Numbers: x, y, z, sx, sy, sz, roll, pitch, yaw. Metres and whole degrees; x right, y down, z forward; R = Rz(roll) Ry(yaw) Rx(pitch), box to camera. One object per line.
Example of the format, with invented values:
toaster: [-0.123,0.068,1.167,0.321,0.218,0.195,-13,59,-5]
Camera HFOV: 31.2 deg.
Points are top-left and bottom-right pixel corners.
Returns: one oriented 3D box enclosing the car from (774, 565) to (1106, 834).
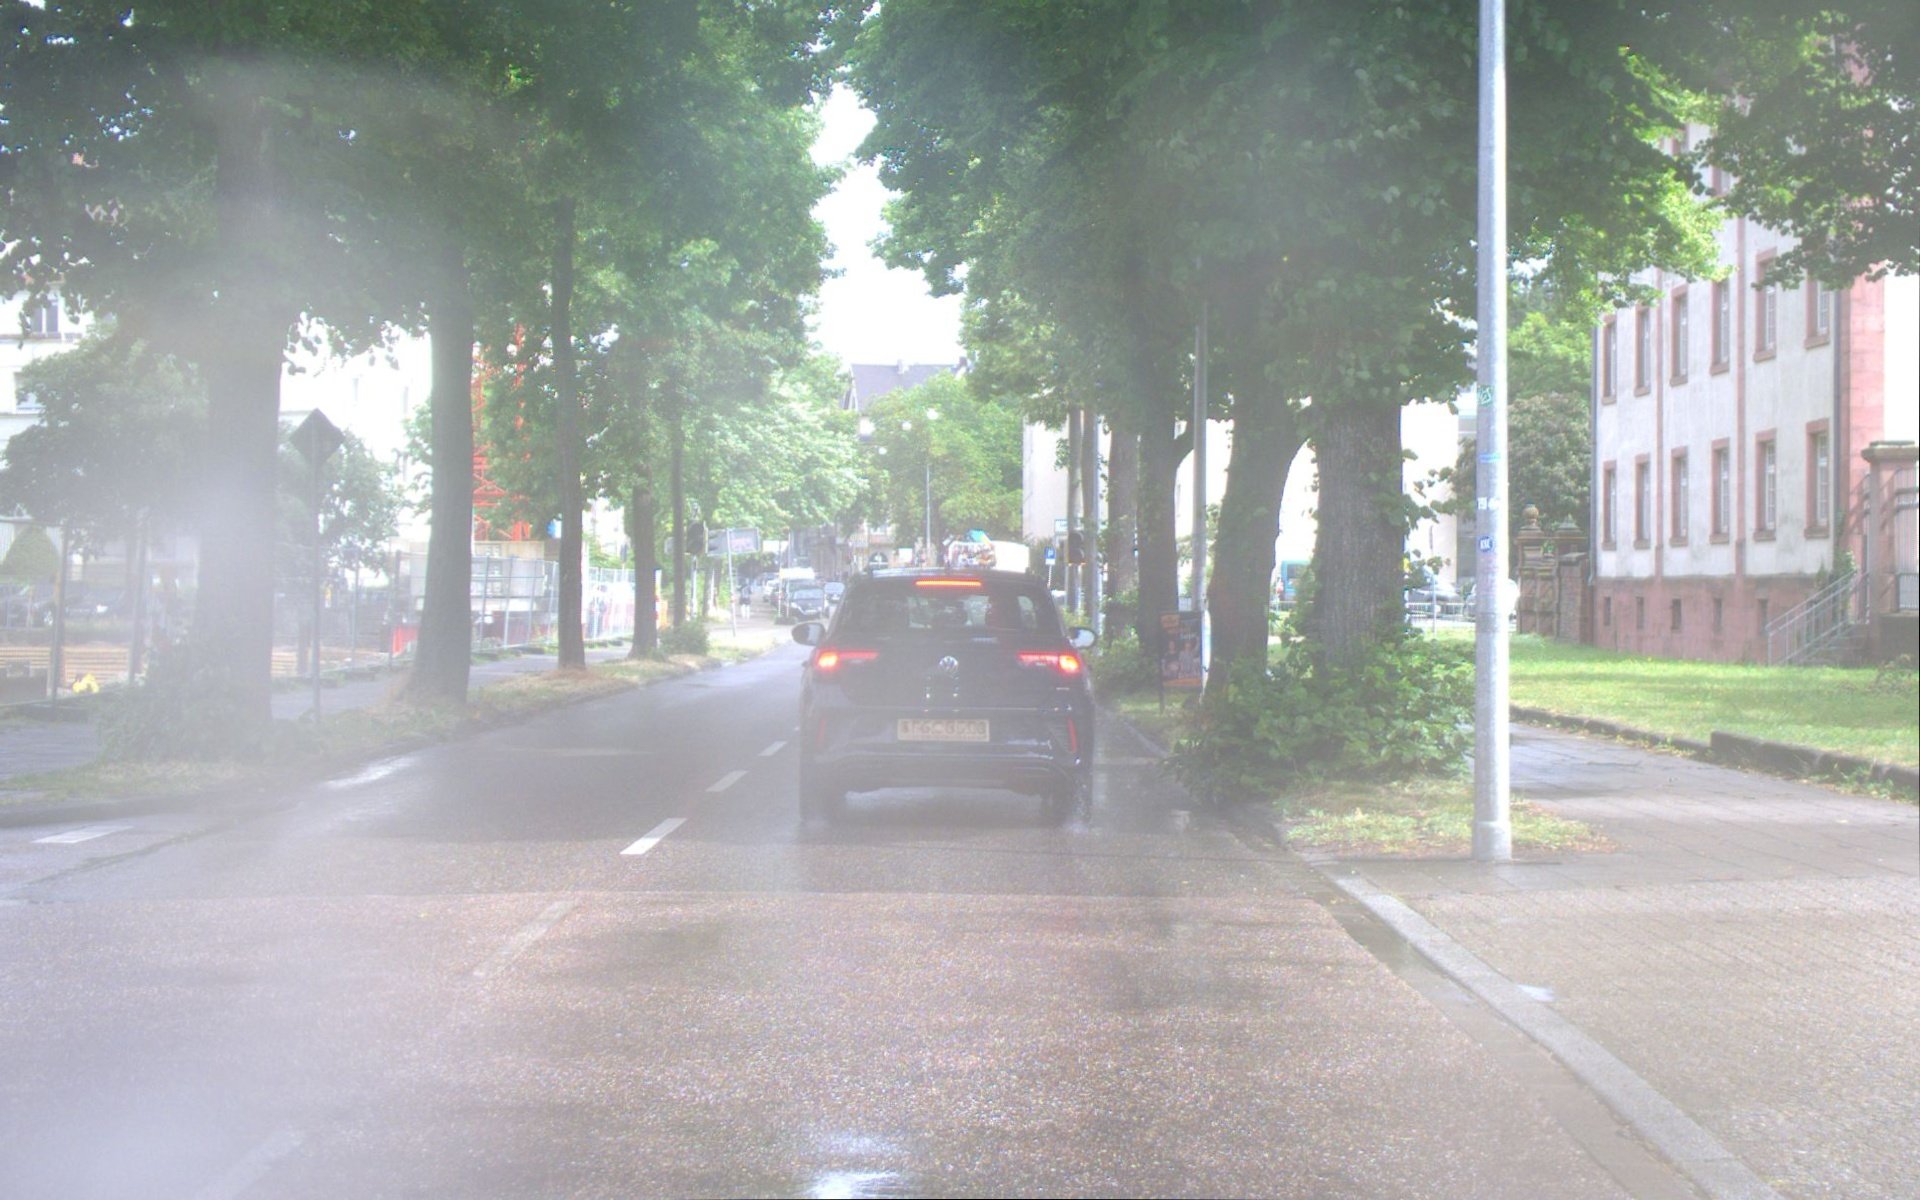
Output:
car: [-0.092,0.561,21.846,1.895,1.517,4.000,1,0,1]

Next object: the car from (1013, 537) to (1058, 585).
car: [3.377,-1.720,153.280,1.993,2.007,4.000,0,-1,2]

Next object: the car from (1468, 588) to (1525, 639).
car: [18.796,0.456,120.613,1.743,1.678,3.869,-2,0,6]

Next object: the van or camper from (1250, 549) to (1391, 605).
van or camper: [13.079,-0.849,124.971,4.875,1.919,2.131,1,1,1]

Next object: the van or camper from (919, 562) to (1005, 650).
van or camper: [0.066,0.114,79.101,1.819,1.941,4.194,1,0,2]

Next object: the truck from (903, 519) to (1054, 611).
truck: [0.480,-1.098,104.492,2.804,2.647,8.243,1,1,-12]

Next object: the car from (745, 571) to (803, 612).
car: [-7.228,-0.336,133.776,1.591,1.507,3.731,-2,0,6]

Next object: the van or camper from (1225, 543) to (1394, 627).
van or camper: [10.919,-0.465,107.612,5.032,2.587,2.168,0,0,-1]
